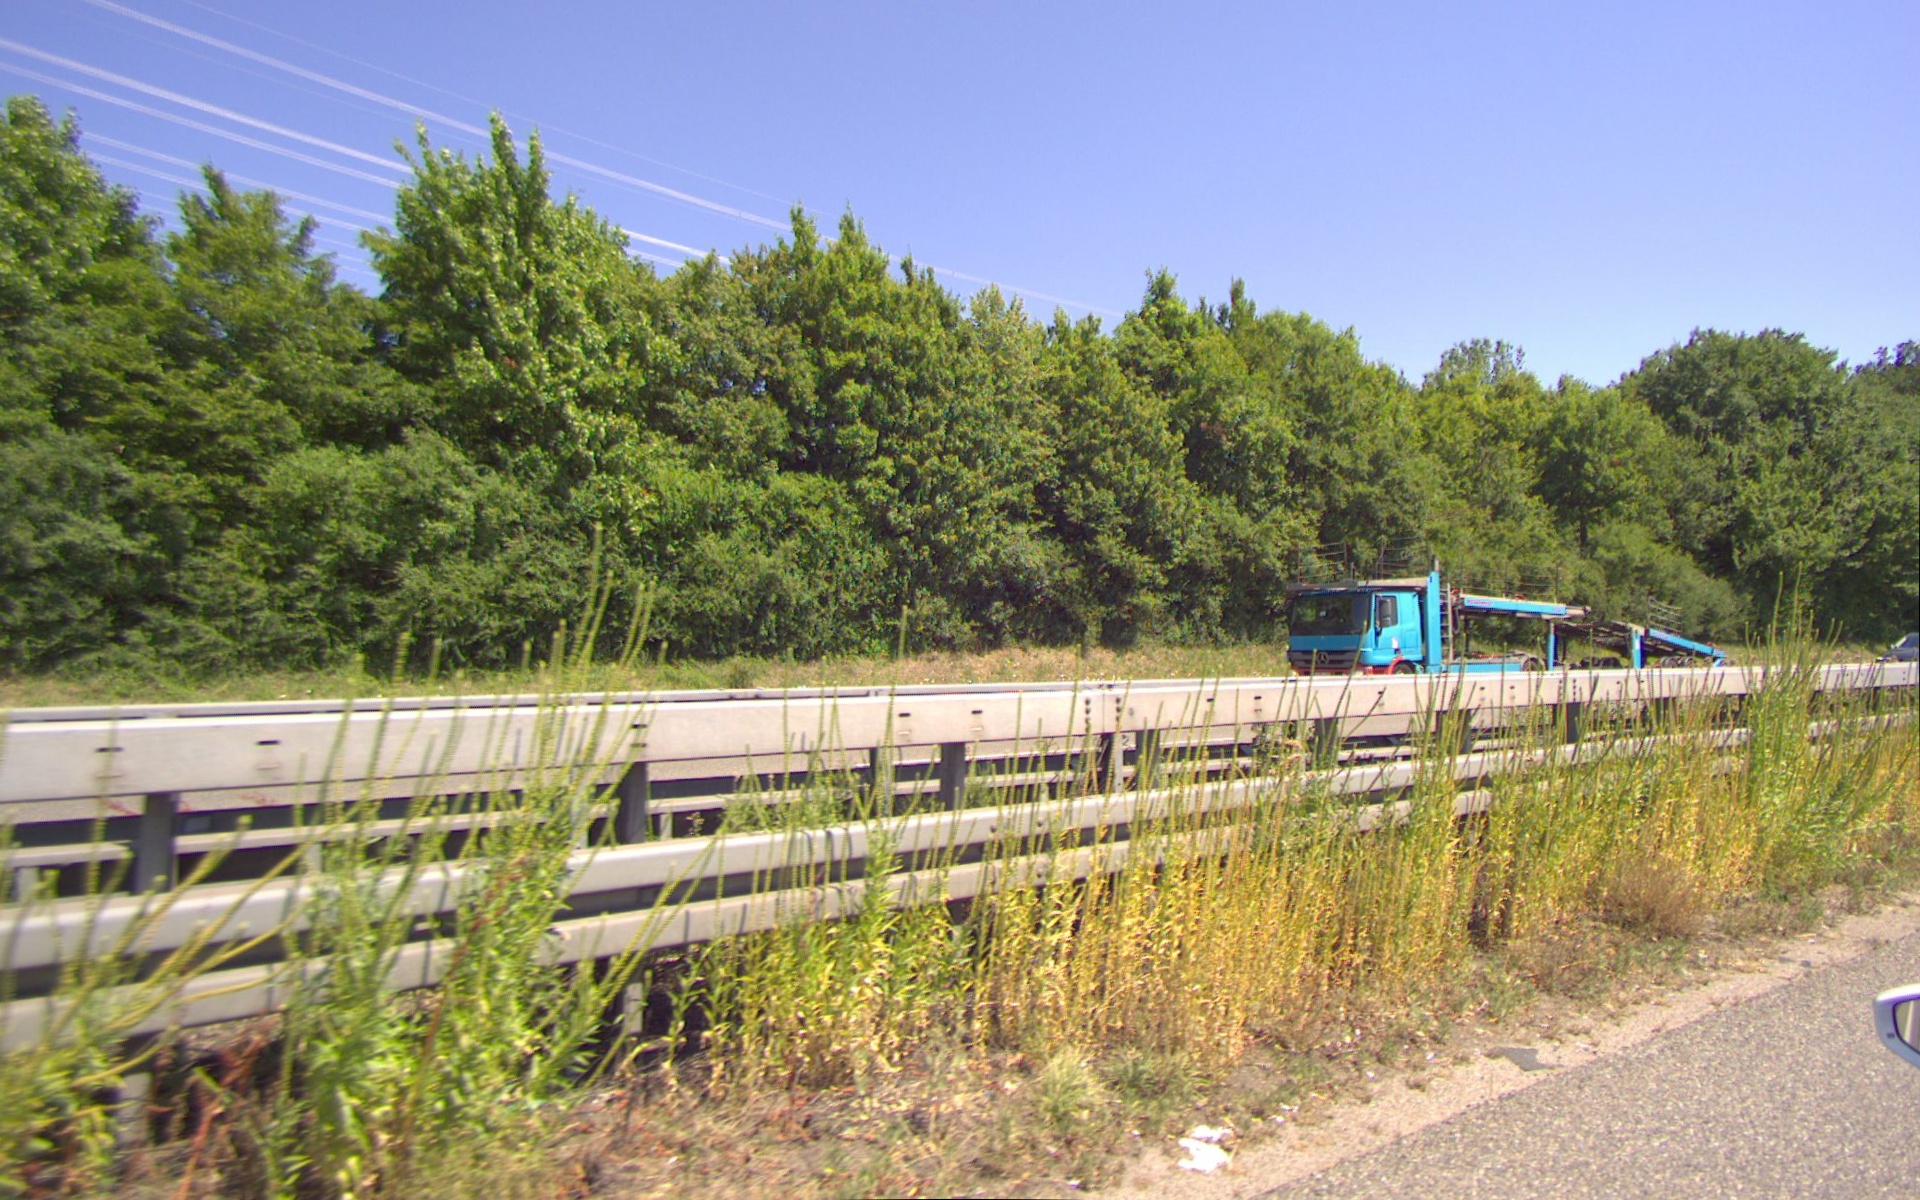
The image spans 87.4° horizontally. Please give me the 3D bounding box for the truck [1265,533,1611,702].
[{"bbox_3d":[13.054,0.545,26.904,10.664,3.852,2.982,2,-2,-31],"label":"truck"}]

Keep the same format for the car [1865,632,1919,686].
[{"bbox_3d":[31.593,1.896,32.771,4.804,1.678,1.716,1,-3,-31],"label":"car"}]

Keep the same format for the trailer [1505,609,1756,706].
[{"bbox_3d":[21.357,1.742,31.856,8.429,2.674,3.132,2,0,-30],"label":"trailer"}]
